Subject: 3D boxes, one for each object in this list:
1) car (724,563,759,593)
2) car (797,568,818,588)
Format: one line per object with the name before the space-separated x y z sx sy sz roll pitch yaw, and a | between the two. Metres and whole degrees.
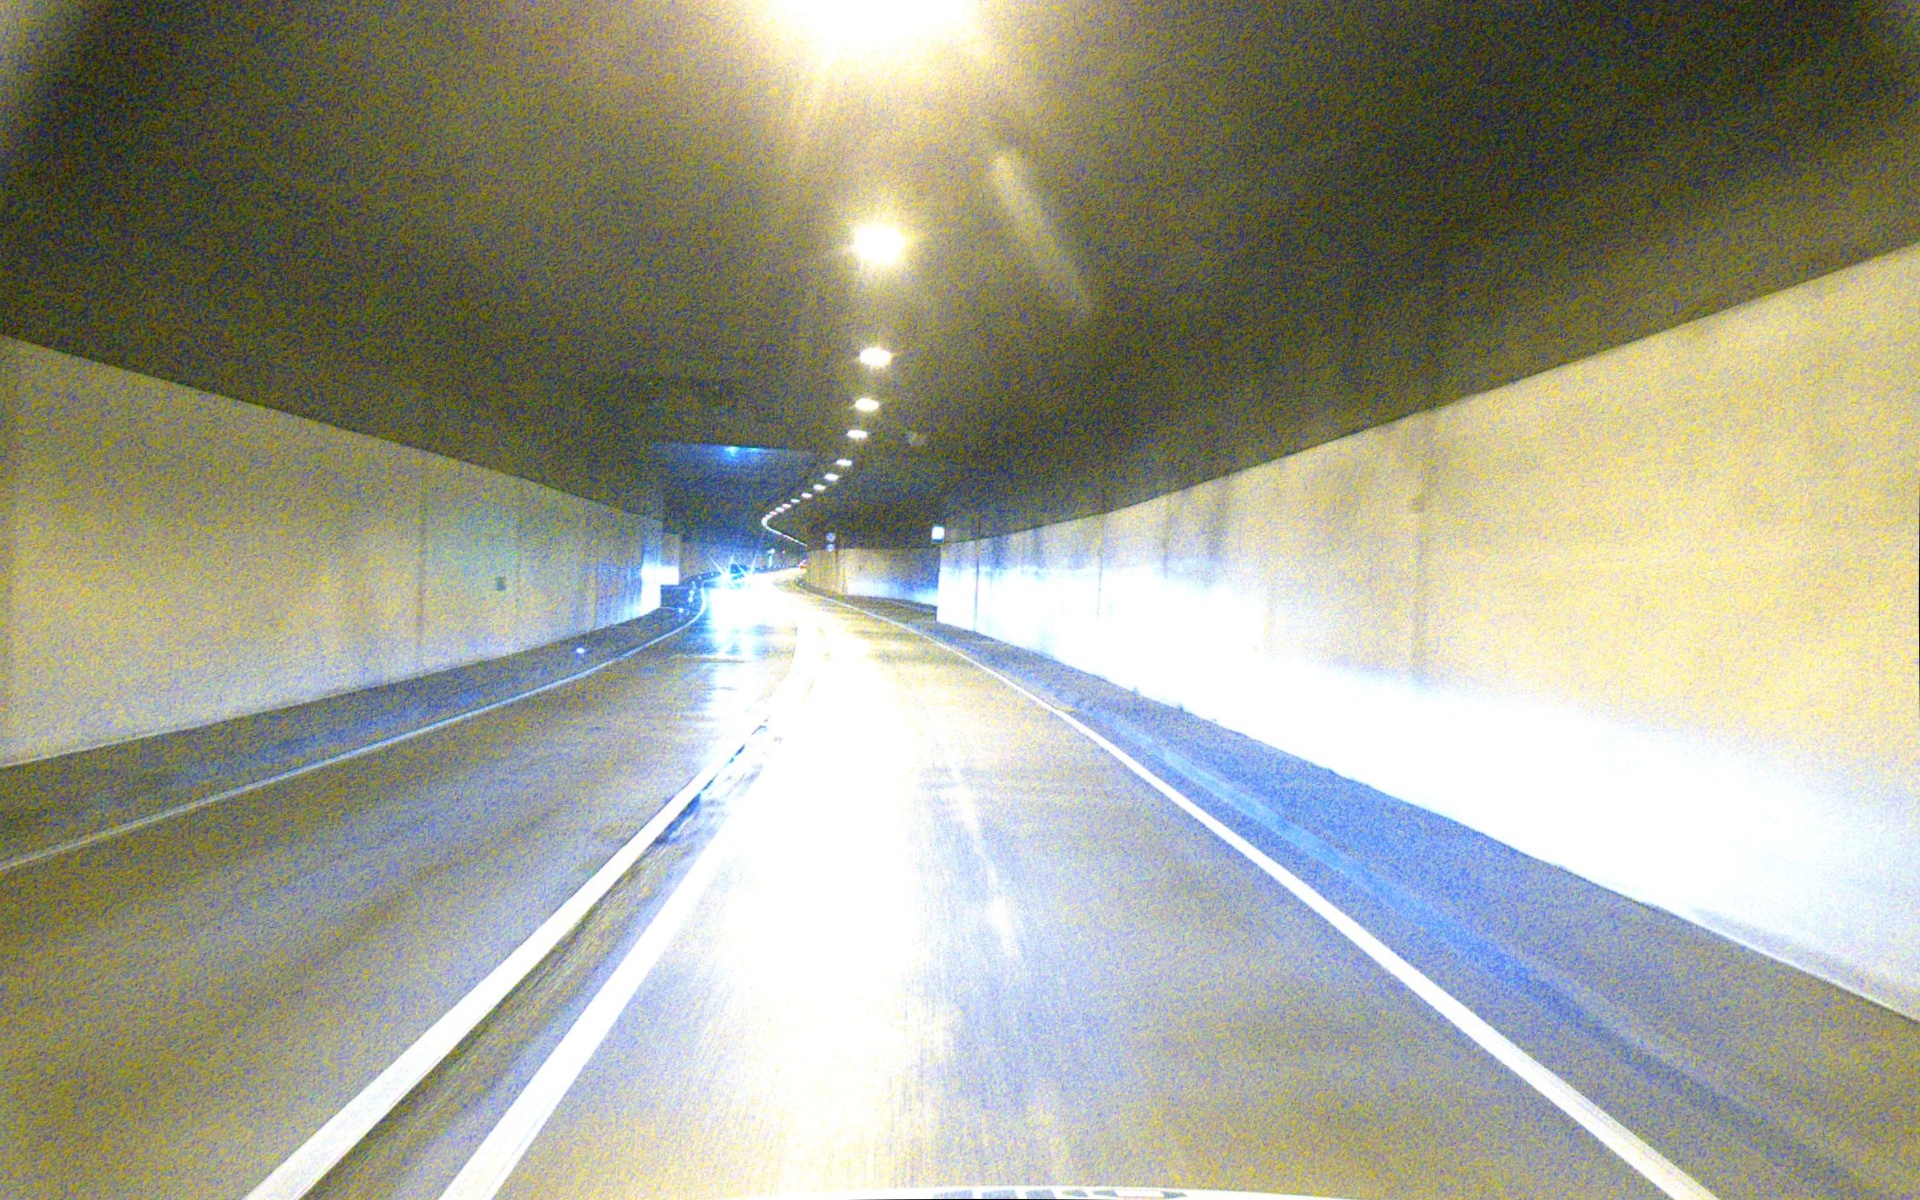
car | -13.385 -1.336 101.475 1.956 1.624 3.993 3 -2 -7
car | -13.006 -1.837 141.084 1.566 1.481 3.614 3 -2 -8
